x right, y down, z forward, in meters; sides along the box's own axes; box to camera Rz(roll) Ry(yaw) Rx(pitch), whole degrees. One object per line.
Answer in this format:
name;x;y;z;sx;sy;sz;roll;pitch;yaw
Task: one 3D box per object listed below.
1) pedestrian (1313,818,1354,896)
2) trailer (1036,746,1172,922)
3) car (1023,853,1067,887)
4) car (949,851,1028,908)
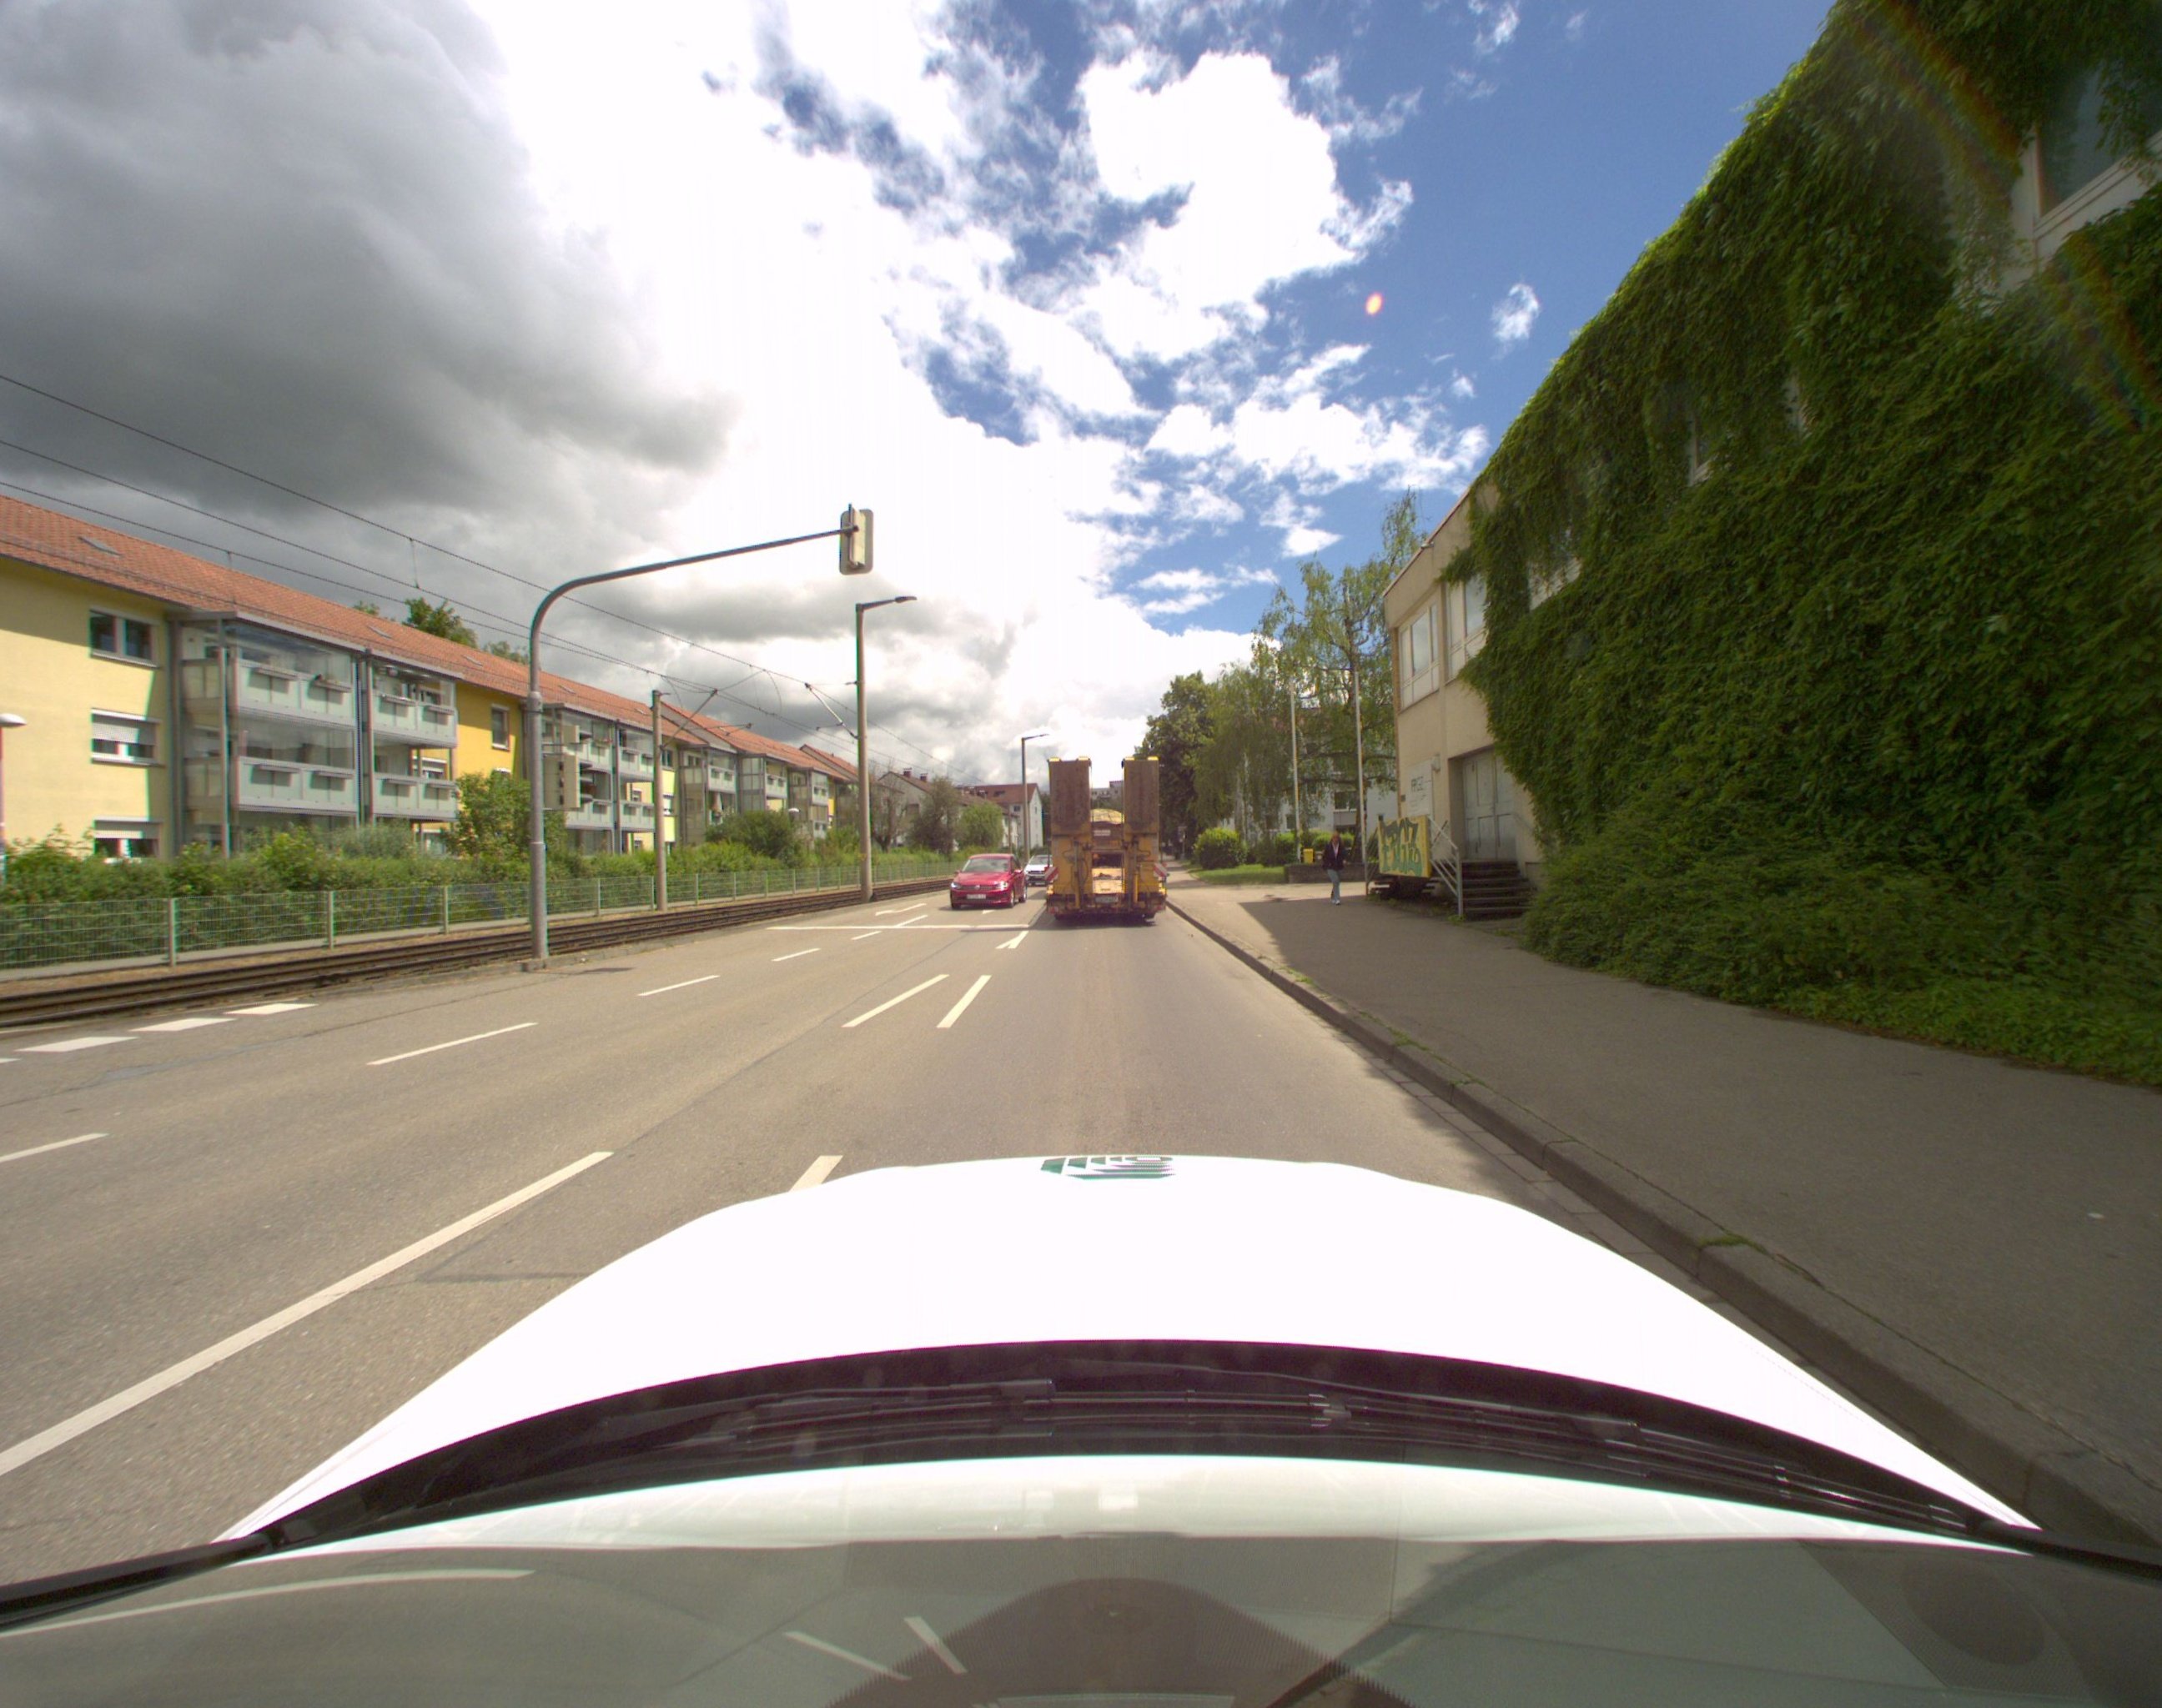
pedestrian;5.898;0.079;19.056;0.804;1.771;0.819;-2;-1;10
trailer;0.536;-0.422;23.067;2.818;3.646;12.354;0;0;1
car;-1.704;0.747;39.744;1.753;1.552;4.002;-1;0;2
car;-2.665;0.697;24.370;1.656;1.552;4.004;0;0;3
